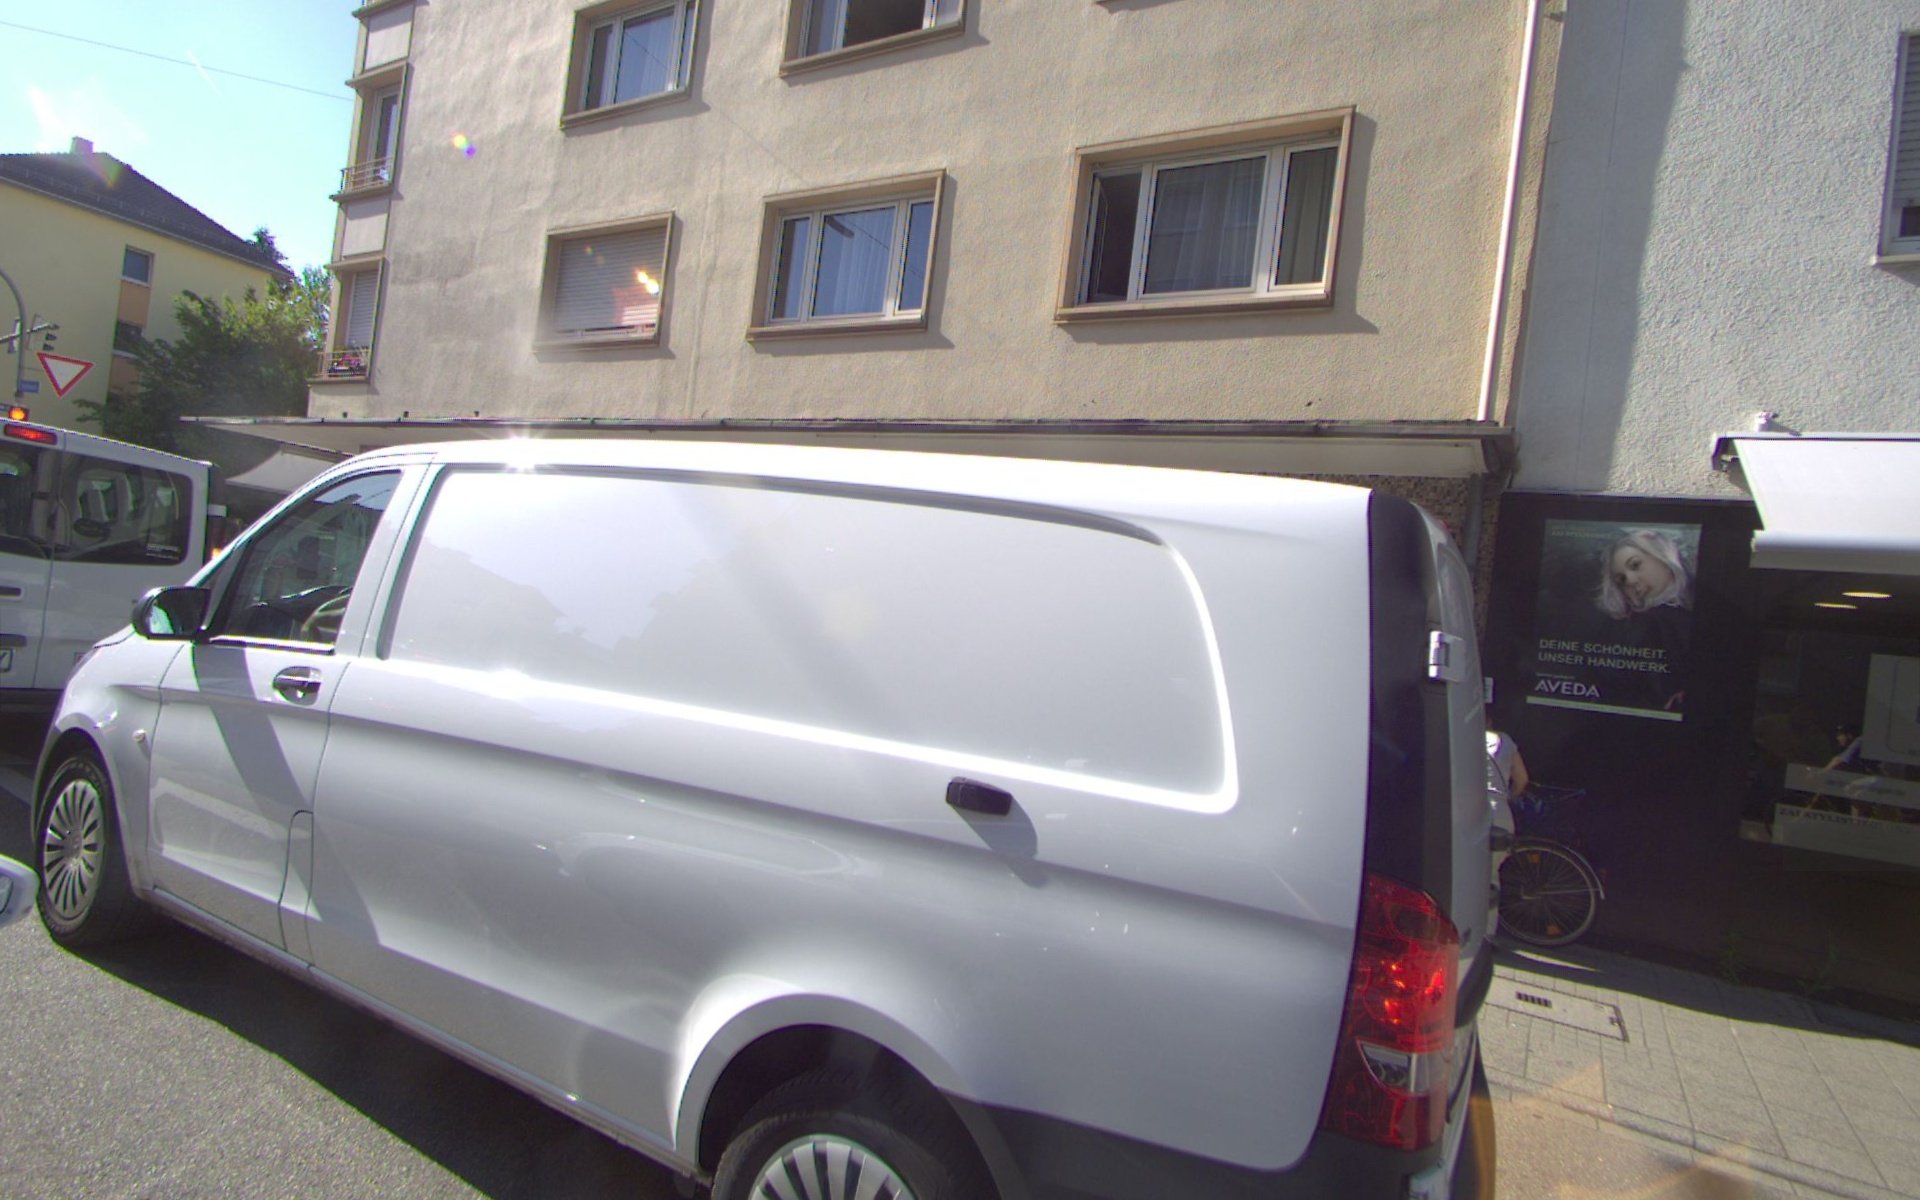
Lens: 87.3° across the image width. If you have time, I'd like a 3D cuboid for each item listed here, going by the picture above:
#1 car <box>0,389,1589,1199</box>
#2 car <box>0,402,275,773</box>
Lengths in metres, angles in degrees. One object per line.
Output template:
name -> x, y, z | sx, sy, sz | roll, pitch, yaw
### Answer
car -> -0.982, 0.510, 3.297 | 4.912, 1.891, 1.840 | 7, -1, 31
car -> -7.104, -0.264, 6.927 | 4.814, 2.002, 1.998 | 7, -2, 32
